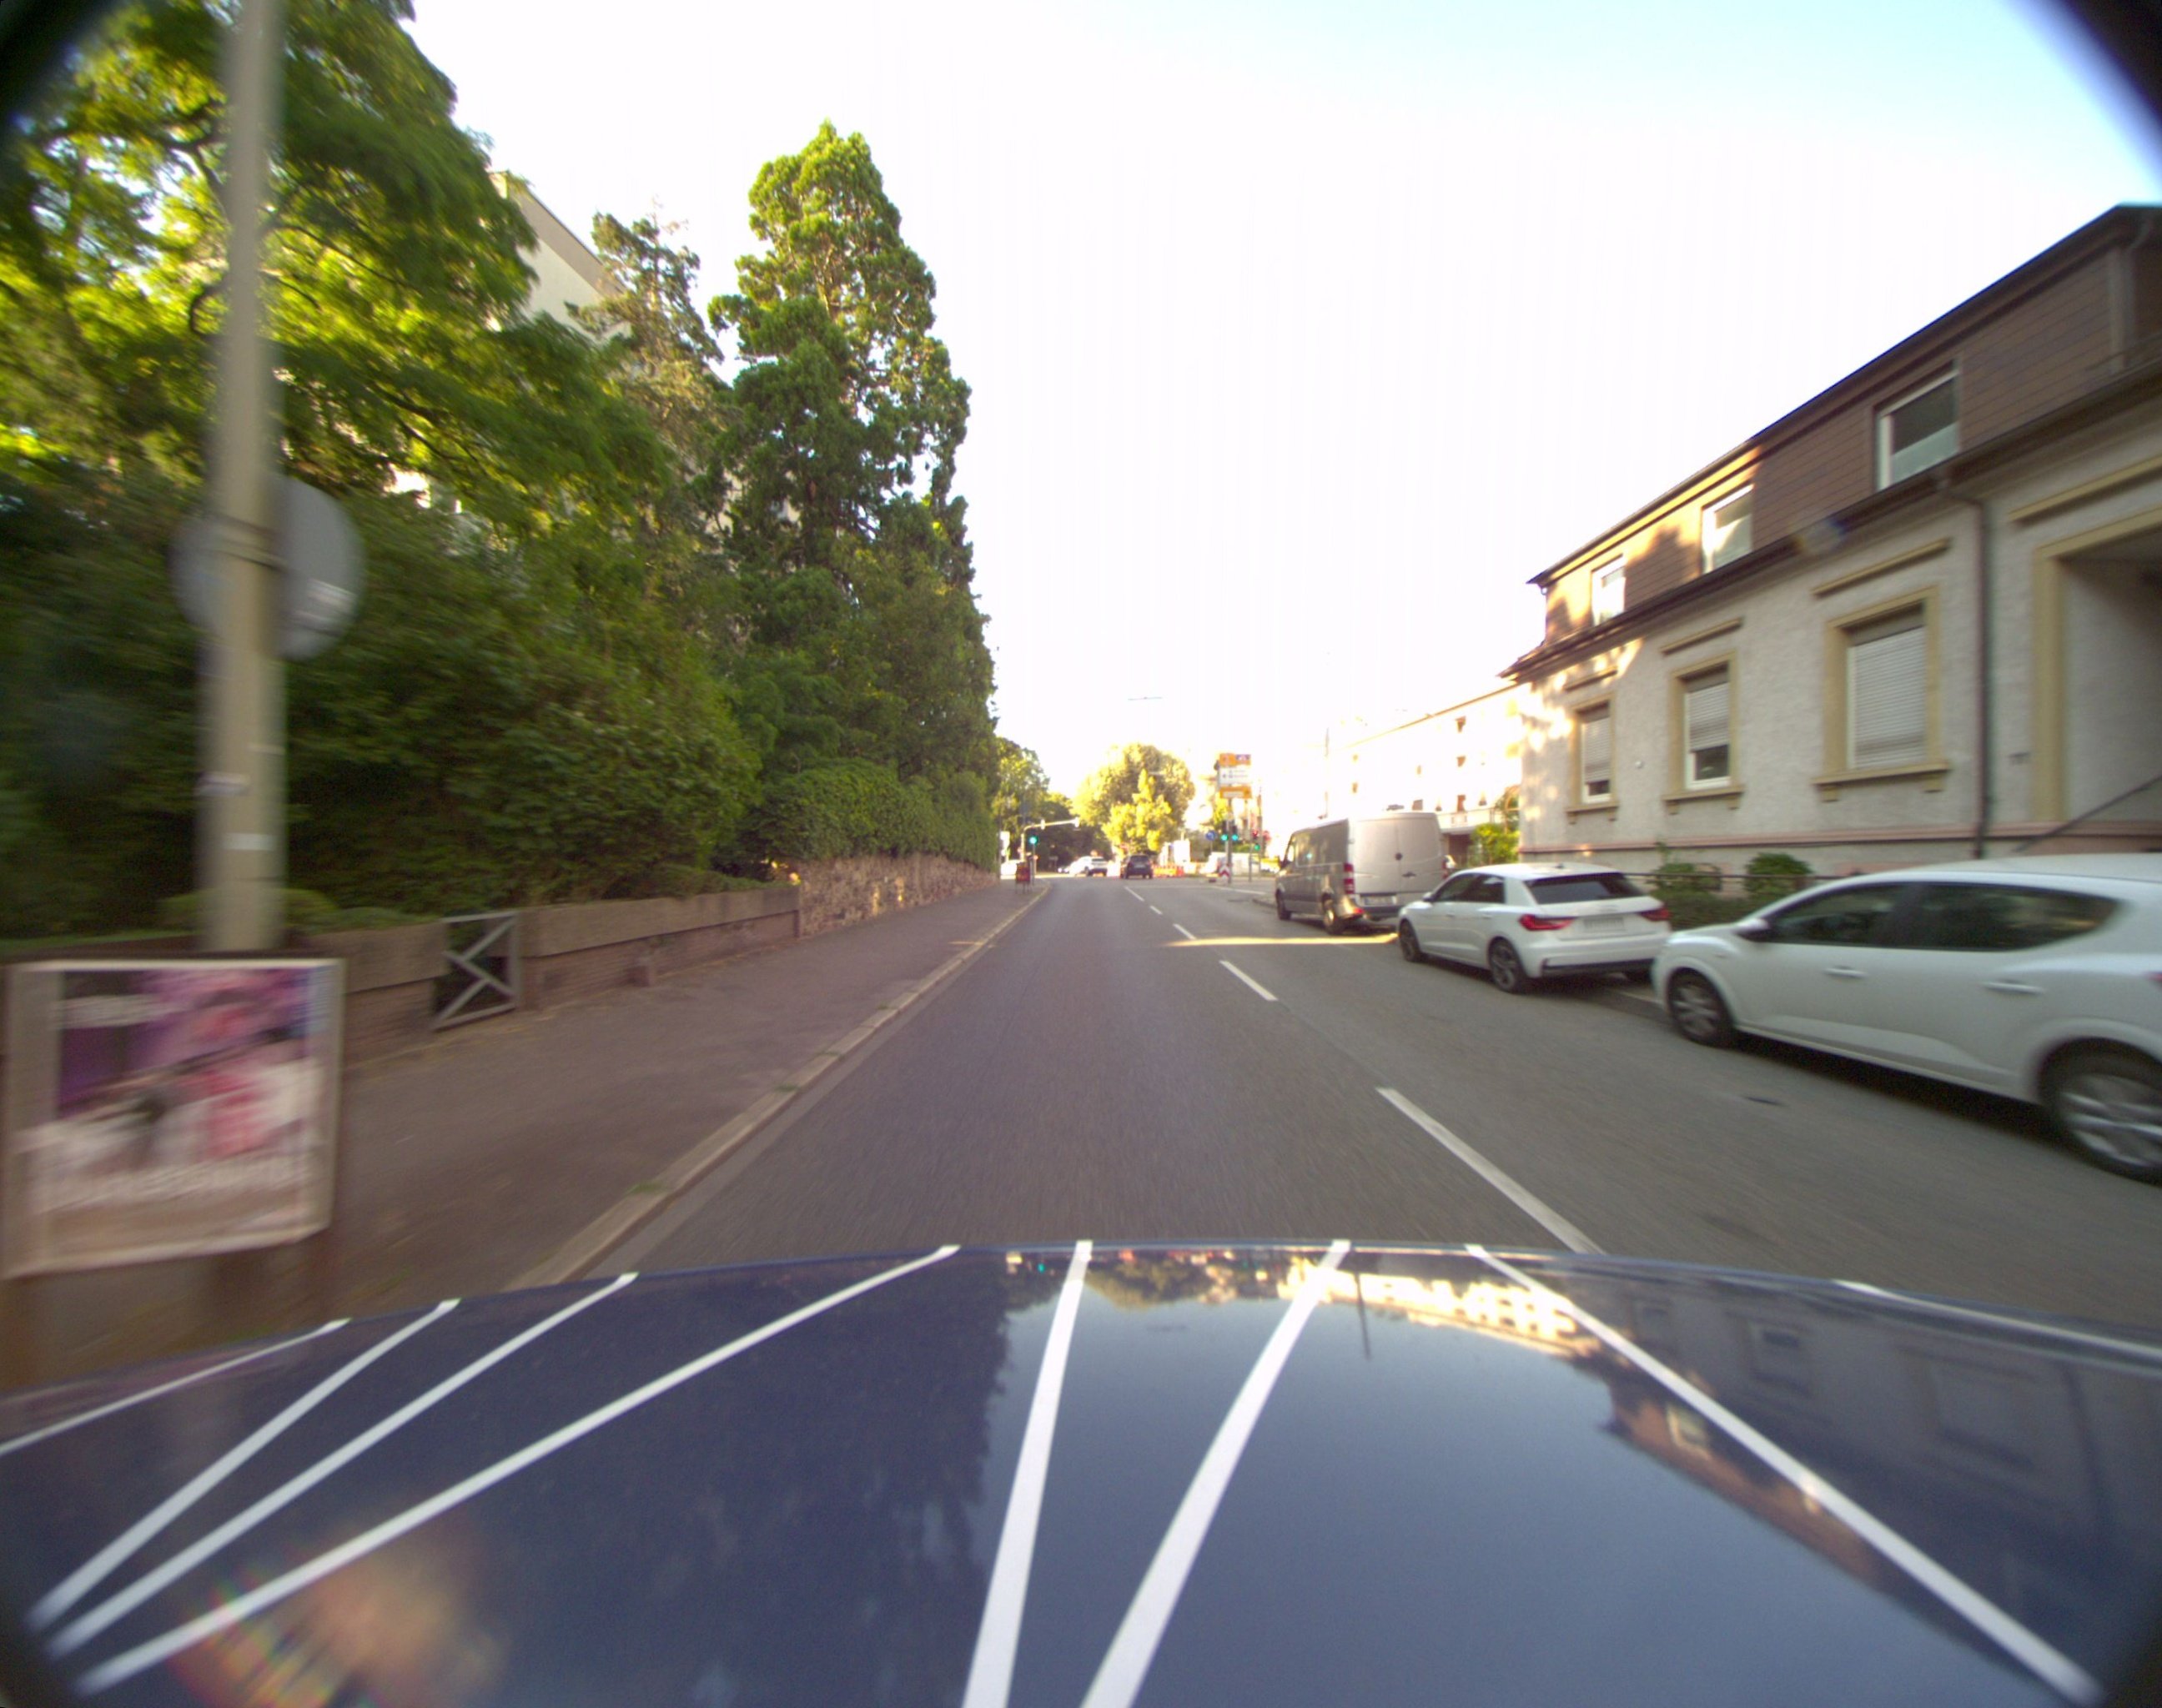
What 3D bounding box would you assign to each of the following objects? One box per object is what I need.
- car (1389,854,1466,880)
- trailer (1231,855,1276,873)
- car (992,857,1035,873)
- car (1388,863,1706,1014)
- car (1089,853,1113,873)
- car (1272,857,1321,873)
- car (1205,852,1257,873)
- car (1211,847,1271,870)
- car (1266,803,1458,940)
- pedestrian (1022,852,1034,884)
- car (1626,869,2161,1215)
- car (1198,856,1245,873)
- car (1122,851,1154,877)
[{"bbox_3d":[23.192,0.874,51.009,4.320,1.601,2.002,-1,-1,11],"label":"car"},{"bbox_3d":[14.367,0.854,63.370,3.263,1.388,1.574,-1,-1,-5],"label":"trailer"},{"bbox_3d":[-6.539,1.097,73.497,4.085,1.471,1.785,-2,-1,39],"label":"car"},{"bbox_3d":[5.585,0.892,9.746,1.707,1.494,3.823,-1,0,0],"label":"car"},{"bbox_3d":[1.651,0.770,64.495,1.780,1.638,4.534,-1,-1,-1],"label":"car"},{"bbox_3d":[21.465,1.138,75.919,4.324,1.501,2.000,-1,-1,-1],"label":"car"},{"bbox_3d":[13.713,0.773,69.758,4.324,1.840,2.000,-1,-1,0],"label":"car"},{"bbox_3d":[14.075,0.407,66.925,4.681,1.953,2.117,-1,-1,-5],"label":"car"},{"bbox_3d":[5.826,0.326,16.785,2.073,2.446,6.014,-1,0,1],"label":"car"},{"bbox_3d":[-2.875,0.757,41.273,0.604,1.683,0.612,1,0,0],"label":"pedestrian"},{"bbox_3d":[5.808,0.891,4.921,1.706,1.494,4.021,-1,0,1],"label":"car"},{"bbox_3d":[13.299,0.990,72.119,4.002,1.470,2.000,-2,-1,-4],"label":"car"},{"bbox_3d":[3.815,0.707,51.446,1.958,1.638,4.284,-1,-1,1],"label":"car"}]
